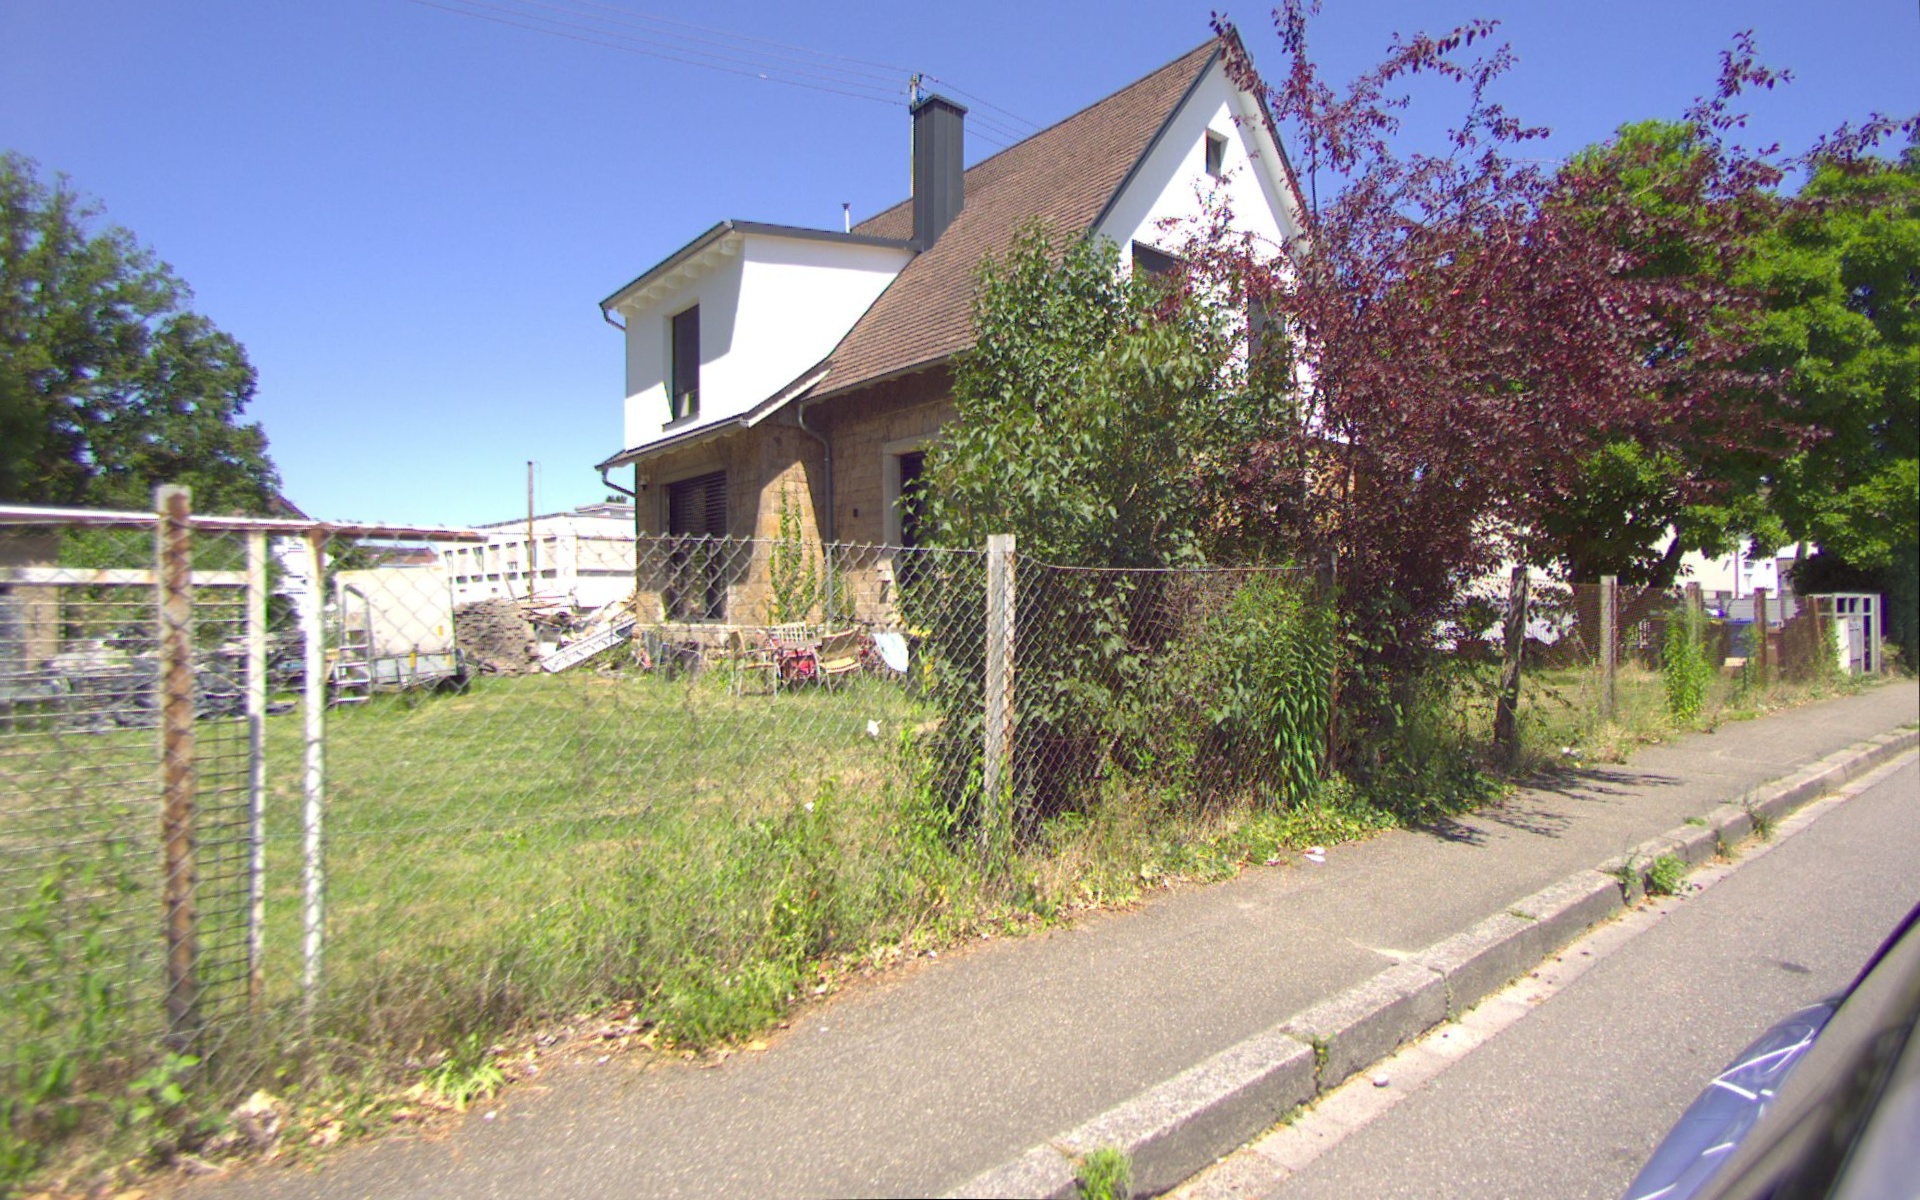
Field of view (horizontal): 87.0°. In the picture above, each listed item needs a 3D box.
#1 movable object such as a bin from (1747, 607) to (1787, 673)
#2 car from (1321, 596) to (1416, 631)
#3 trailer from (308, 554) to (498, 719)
[{"bbox_3d":[13.620,0.664,17.083,0.536,1.077,0.401,1,0,-37],"label":"movable object such as a bin"},{"bbox_3d":[17.327,0.532,43.040,1.464,1.406,3.464,-1,1,-40],"label":"car"},{"bbox_3d":[-8.297,0.447,14.964,2.043,1.958,4.002,-6,3,-32],"label":"trailer"}]
